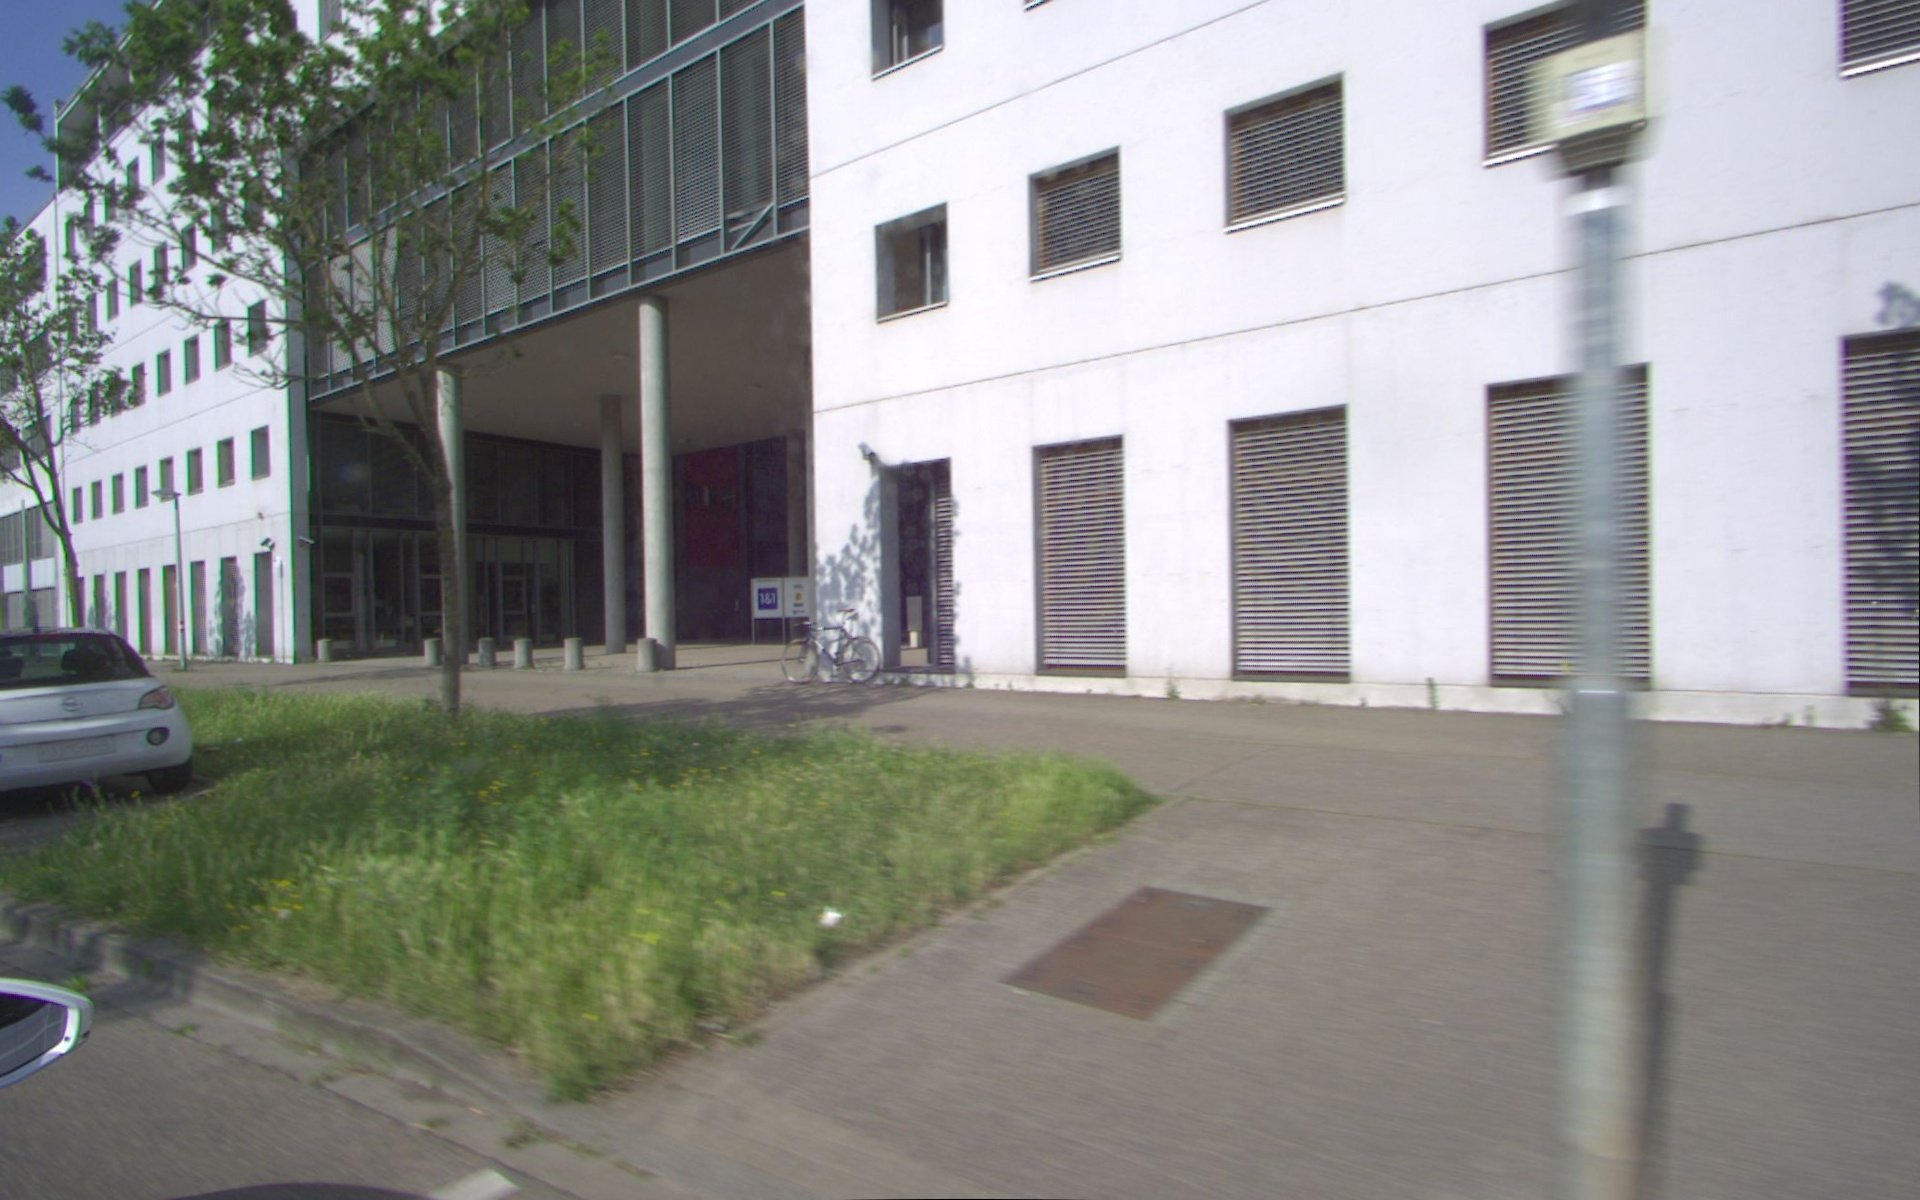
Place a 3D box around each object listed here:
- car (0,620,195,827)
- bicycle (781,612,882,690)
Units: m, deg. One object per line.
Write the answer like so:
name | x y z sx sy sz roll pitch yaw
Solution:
car | -8.536 0.963 8.931 3.731 1.539 1.715 -1 0 36
bicycle | -1.922 0.743 14.915 1.528 1.101 0.492 -1 1 34
